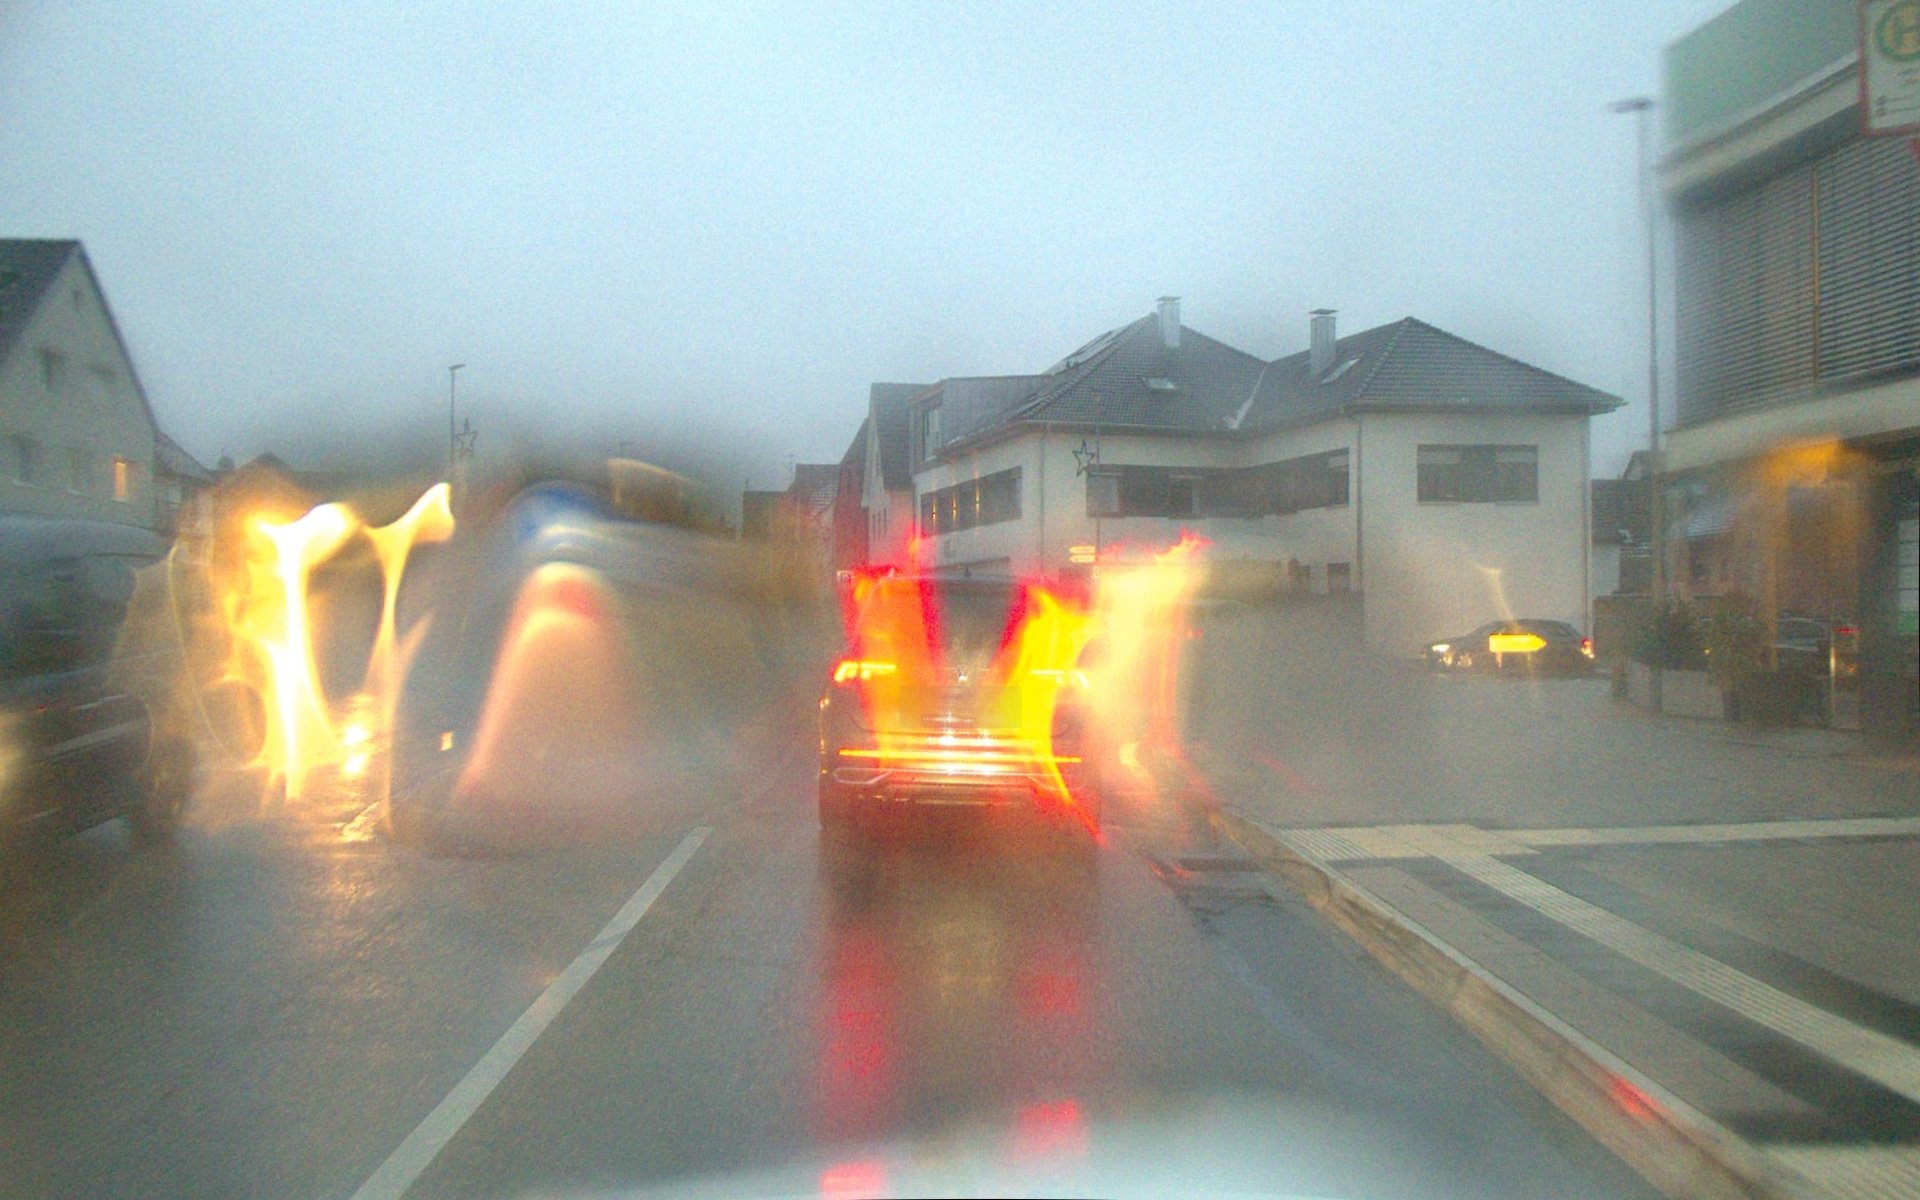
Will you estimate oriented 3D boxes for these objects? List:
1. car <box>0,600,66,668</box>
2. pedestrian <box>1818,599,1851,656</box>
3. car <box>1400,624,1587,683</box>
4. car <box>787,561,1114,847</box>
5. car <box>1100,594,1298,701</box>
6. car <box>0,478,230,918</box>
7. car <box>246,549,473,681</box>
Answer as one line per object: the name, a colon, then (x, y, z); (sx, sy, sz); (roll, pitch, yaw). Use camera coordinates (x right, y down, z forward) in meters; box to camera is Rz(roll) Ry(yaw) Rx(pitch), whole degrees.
car: (-22.024, 0.767, 36.460); (3.746, 1.447, 1.716); (0, -2, 7)
pedestrian: (25.778, 0.805, 48.767); (0.700, 1.649, 0.583); (0, 1, 8)
car: (13.520, 1.387, 42.052); (4.140, 1.408, 1.847); (1, -3, -7)
car: (-0.118, 0.603, 11.561); (1.877, 1.643, 3.949); (1, 0, -2)
car: (3.866, 0.686, 26.240); (1.745, 1.566, 3.923); (0, 0, 31)
car: (-5.000, 0.395, 7.893); (1.687, 1.844, 4.129); (0, 0, -8)
car: (-10.354, 0.242, 28.307); (1.983, 2.049, 4.824); (1, -1, -42)
